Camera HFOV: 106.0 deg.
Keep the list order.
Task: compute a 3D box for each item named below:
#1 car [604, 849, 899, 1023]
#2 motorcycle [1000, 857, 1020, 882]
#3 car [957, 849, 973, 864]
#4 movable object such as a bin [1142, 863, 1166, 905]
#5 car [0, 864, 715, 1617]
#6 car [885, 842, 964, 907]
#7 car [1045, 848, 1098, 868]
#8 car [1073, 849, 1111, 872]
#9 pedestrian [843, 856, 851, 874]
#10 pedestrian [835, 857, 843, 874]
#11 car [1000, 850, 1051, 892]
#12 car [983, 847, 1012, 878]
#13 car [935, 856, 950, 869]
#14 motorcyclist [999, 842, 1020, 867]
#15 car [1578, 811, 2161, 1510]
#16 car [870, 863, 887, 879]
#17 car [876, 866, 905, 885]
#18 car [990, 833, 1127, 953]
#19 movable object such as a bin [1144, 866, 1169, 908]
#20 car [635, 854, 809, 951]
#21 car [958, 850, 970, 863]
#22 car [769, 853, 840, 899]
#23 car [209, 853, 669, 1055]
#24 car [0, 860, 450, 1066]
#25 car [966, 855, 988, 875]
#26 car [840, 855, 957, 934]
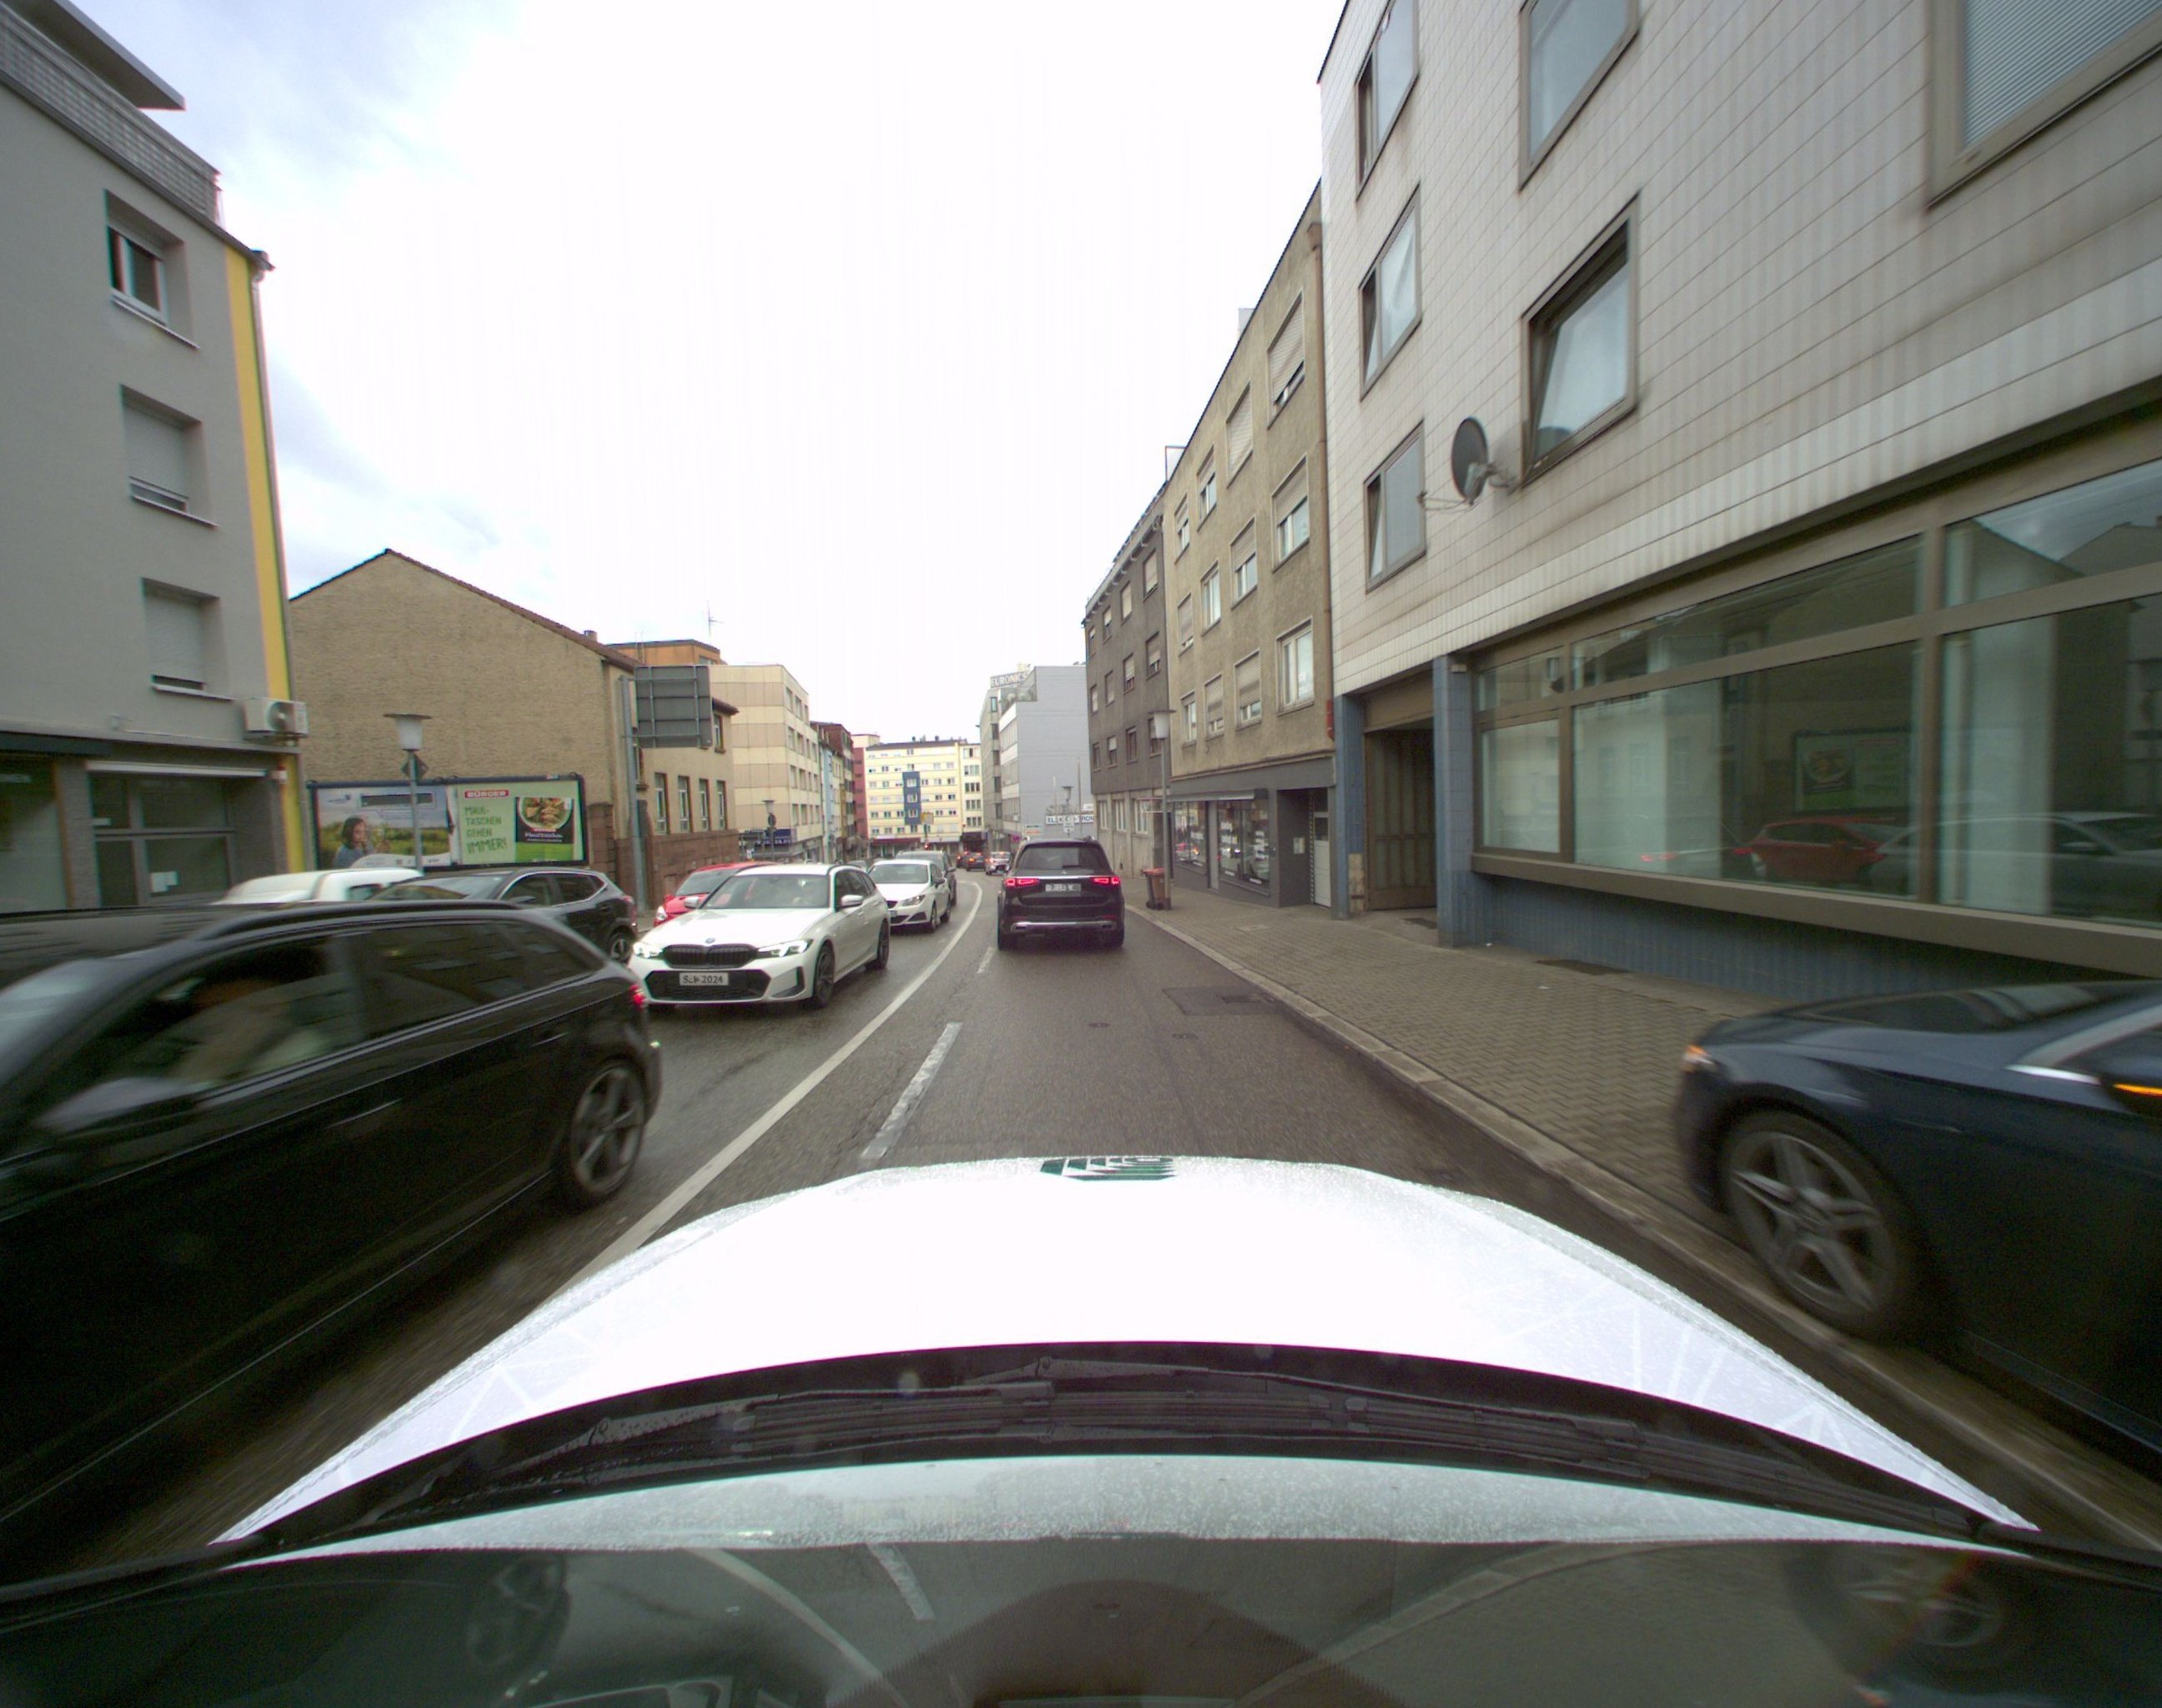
[{"bbox_3d":[-3.528,0.764,9.754,1.802,1.521,4.557,-2,0,-3],"label":"car"},{"bbox_3d":[-3.786,0.811,43.314,0.867,1.057,2.930,-1,4,-9],"label":"motorcycle"},{"bbox_3d":[-12.574,0.305,88.161,1.524,1.548,3.094,-2,1,-13],"label":"car"},{"bbox_3d":[1.806,0.739,20.186,0.523,0.980,0.537,-1,4,-3],"label":"movable object such as a bin"},{"bbox_3d":[-2.969,0.786,2.243,1.800,1.415,4.380,-2,0,1],"label":"car"},{"bbox_3d":[-4.487,0.557,23.934,1.804,1.705,4.553,0,0,-5],"label":"car"},{"bbox_3d":[-0.749,0.302,66.981,4.012,1.597,1.782,0,-1,-30],"label":"car"},{"bbox_3d":[0.717,0.416,54.741,1.796,1.477,4.471,-1,0,-9],"label":"car"},{"bbox_3d":[-23.534,1.107,81.841,0.672,1.652,0.603,-2,4,-14],"label":"pedestrian"},{"bbox_3d":[-24.290,1.143,81.744,0.740,1.652,0.603,-2,4,-14],"label":"pedestrian"},{"bbox_3d":[-2.263,0.662,32.769,1.827,1.461,4.371,-4,0,-5],"label":"car"},{"bbox_3d":[-5.675,0.527,54.970,1.753,1.779,3.565,-1,4,-9],"label":"car"},{"bbox_3d":[-13.975,0.855,82.143,1.284,1.124,2.781,-1,4,-7],"label":"car"},{"bbox_3d":[-3.789,0.005,43.147,0.867,1.057,2.930,-1,4,-9],"label":"motorcyclist"},{"bbox_3d":[3.071,0.597,1.301,1.759,1.392,4.377,-4,0,-1],"label":"car"},{"bbox_3d":[-22.223,1.898,89.443,1.717,1.586,4.124,-4,0,-13],"label":"car"},{"bbox_3d":[-15.820,1.754,67.811,1.695,1.480,4.284,0,0,-4],"label":"car"},{"bbox_3d":[-0.432,0.568,14.533,2.016,1.739,4.743,-1,0,-3],"label":"car"},{"bbox_3d":[1.816,0.783,19.625,0.523,0.950,0.537,-1,4,-3],"label":"movable object such as a bin"},{"bbox_3d":[-6.756,0.834,15.840,1.737,1.516,4.124,-4,0,-5],"label":"car"},{"bbox_3d":[-15.530,0.338,107.738,1.522,1.548,3.098,-1,1,-9],"label":"car"},{"bbox_3d":[-10.954,0.826,32.483,1.653,1.610,3.922,-4,0,-5],"label":"car"},{"bbox_3d":[-6.723,0.886,9.319,1.802,1.631,4.339,-4,0,-2],"label":"car"},{"bbox_3d":[-9.904,1.050,9.603,1.723,1.830,4.057,-4,0,-2],"label":"car"},{"bbox_3d":[-8.927,0.906,69.708,1.524,1.548,3.094,-2,1,-13],"label":"car"},{"bbox_3d":[-3.719,0.769,17.332,1.694,1.480,4.286,0,0,-3],"label":"car"}]
